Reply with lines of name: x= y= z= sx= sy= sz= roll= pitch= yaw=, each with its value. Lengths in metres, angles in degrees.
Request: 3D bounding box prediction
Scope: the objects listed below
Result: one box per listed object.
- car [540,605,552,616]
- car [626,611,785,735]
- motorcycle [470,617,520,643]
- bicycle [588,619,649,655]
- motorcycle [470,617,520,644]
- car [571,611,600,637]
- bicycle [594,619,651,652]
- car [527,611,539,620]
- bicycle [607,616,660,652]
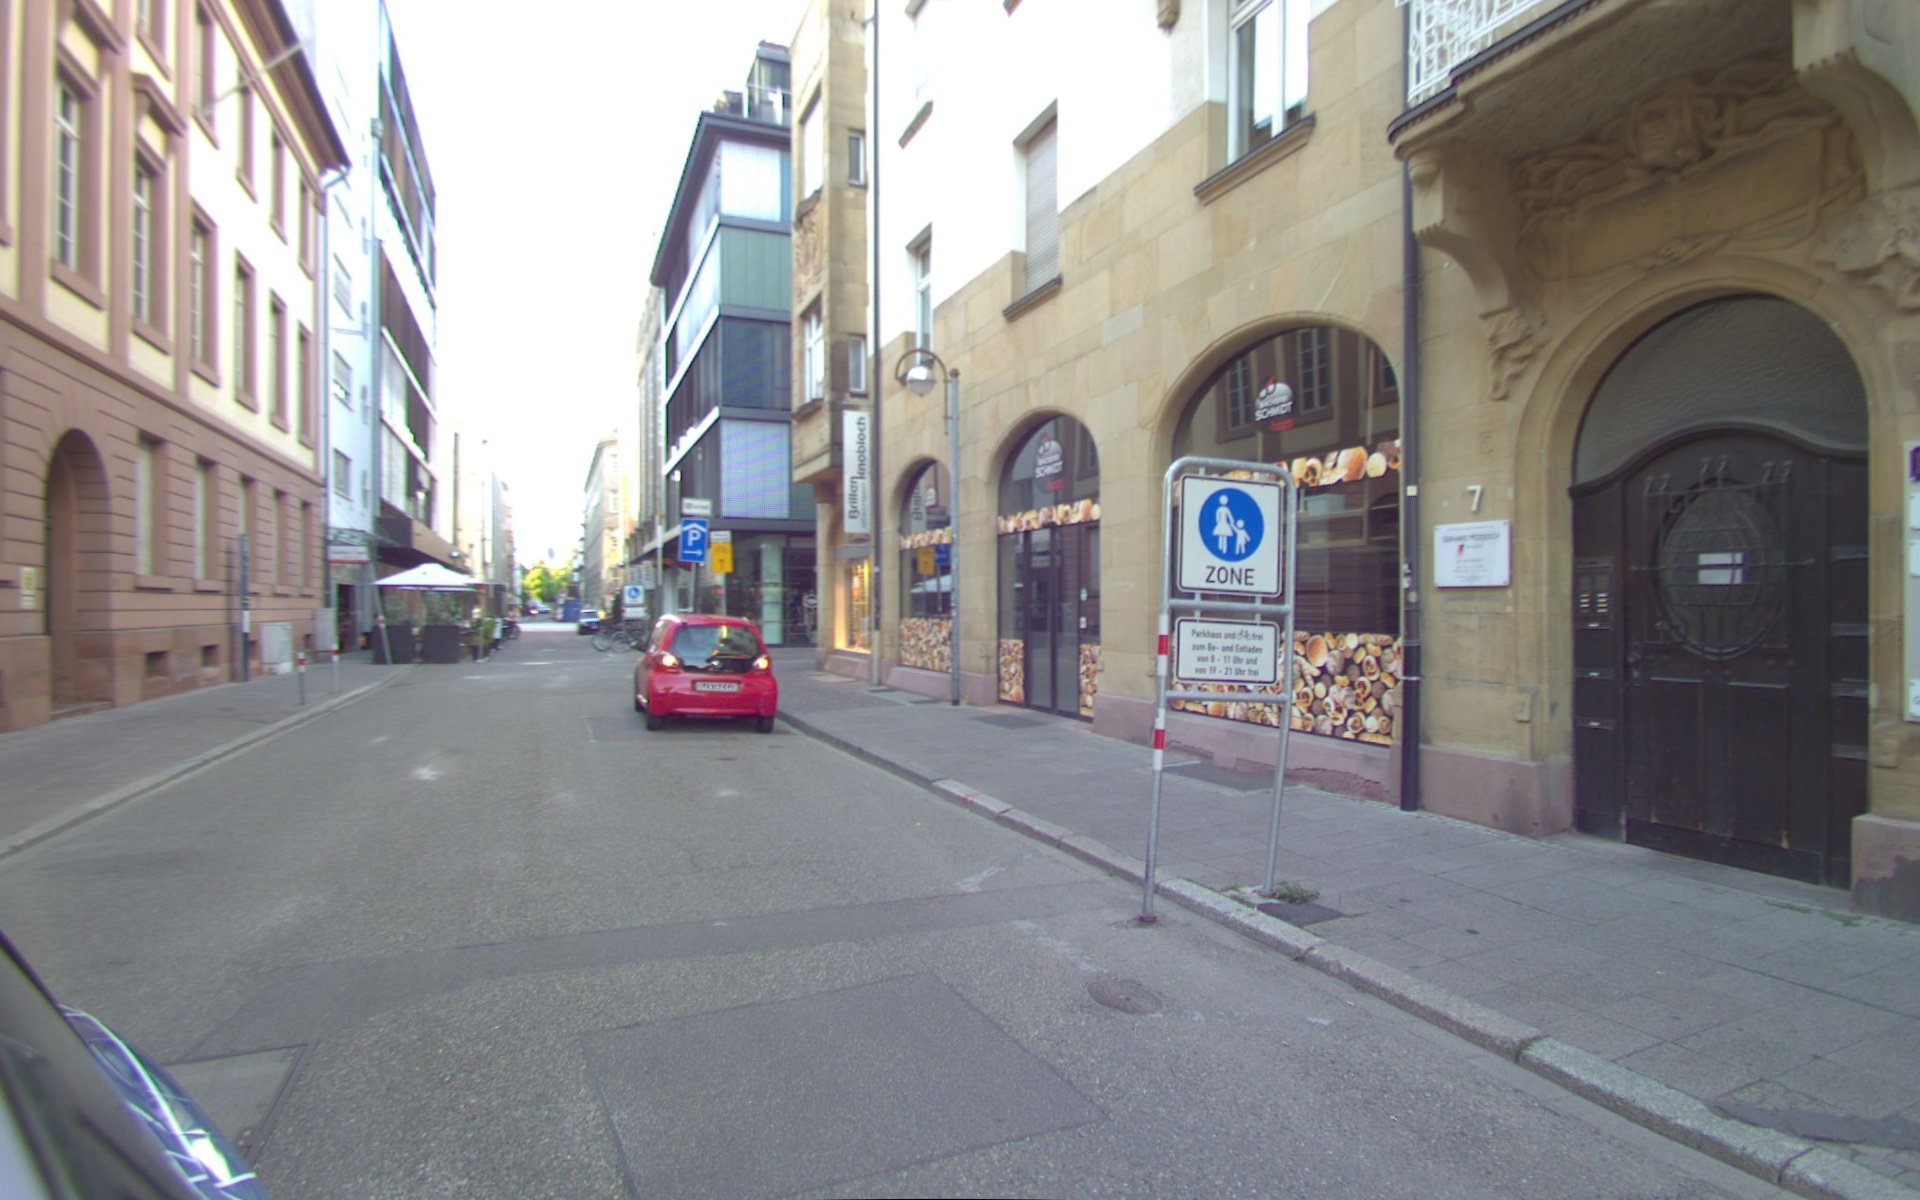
car: x=-50.517 y=1.330 z=123.457 sx=1.402 sy=1.310 sz=3.575 roll=-1 pitch=0 yaw=-23
car: x=-3.534 y=0.914 z=13.699 sx=1.610 sy=1.452 sz=3.167 roll=3 pitch=-2 yaw=-22
motorcycle: x=-23.073 y=1.489 z=50.241 sx=2.156 sy=1.292 sz=0.653 roll=1 pitch=-1 yaw=-20
bicycle: x=-11.551 y=1.236 z=34.206 sx=1.920 sy=1.139 sz=0.622 roll=-1 pitch=-1 yaw=-21
motorcycle: x=-22.662 y=1.478 z=49.365 sx=2.156 sy=1.292 sz=0.653 roll=1 pitch=-1 yaw=-20
car: x=-22.021 y=1.379 z=59.385 sx=1.402 sy=1.428 sz=3.908 roll=-1 pitch=0 yaw=-23
bicycle: x=-12.286 y=1.273 z=36.846 sx=1.920 sy=1.139 sz=0.528 roll=-1 pitch=-1 yaw=-21
car: x=-56.169 y=2.026 z=133.193 sx=1.402 sy=1.104 sz=3.575 roll=-1 pitch=0 yaw=-23
bicycle: x=-10.640 y=1.103 z=32.969 sx=1.580 sy=1.127 sz=0.622 roll=-1 pitch=-1 yaw=-21
